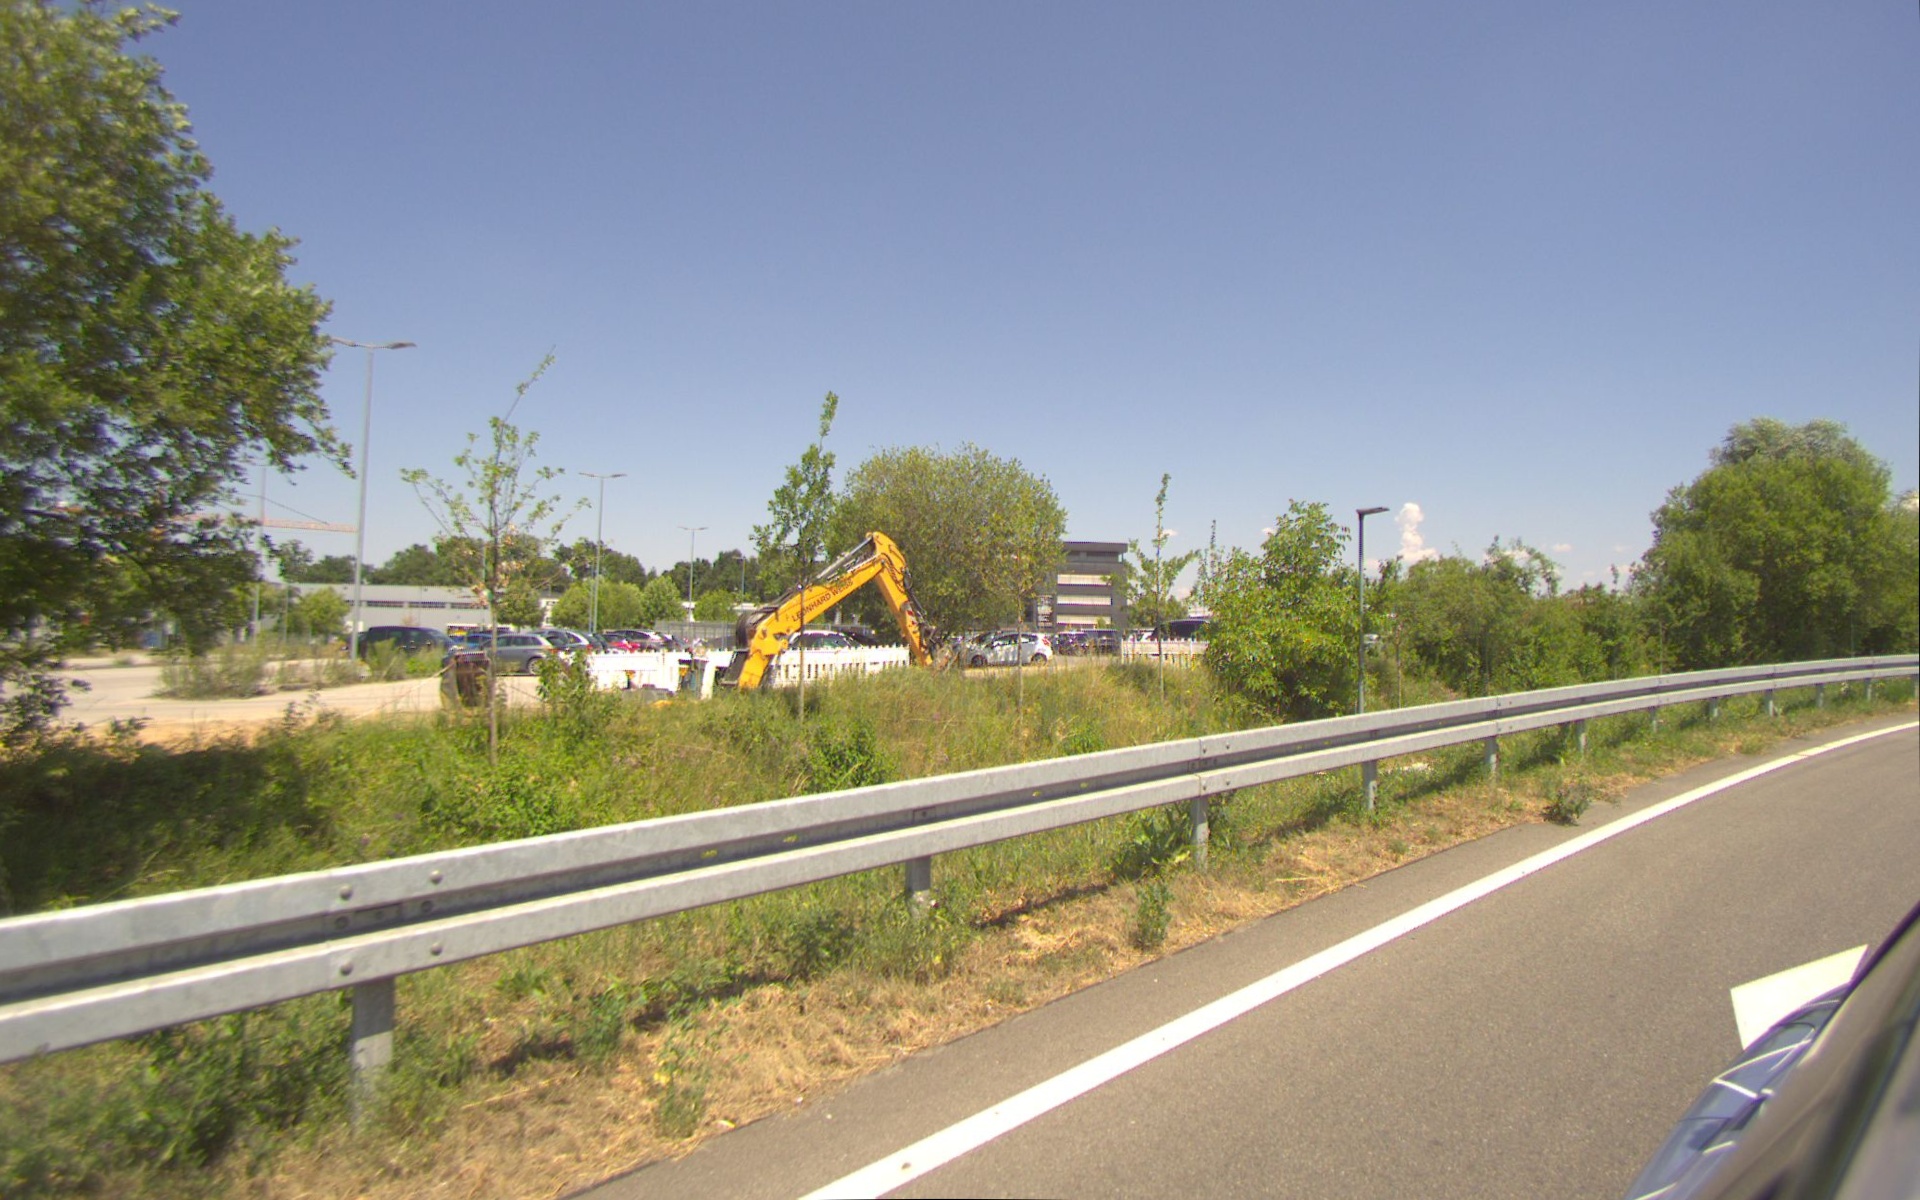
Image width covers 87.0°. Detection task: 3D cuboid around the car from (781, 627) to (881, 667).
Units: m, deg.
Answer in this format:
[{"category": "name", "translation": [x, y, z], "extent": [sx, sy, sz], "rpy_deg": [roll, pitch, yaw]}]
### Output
[{"category": "car", "translation": [-5.391, 1.969, 42.491], "extent": [4.072, 1.563, 2.002], "rpy_deg": [0, 0, -5]}]

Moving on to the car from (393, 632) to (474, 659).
[{"category": "car", "translation": [-35.627, 3.043, 68.508], "extent": [4.458, 1.707, 2.100], "rpy_deg": [-1, -1, 4]}]

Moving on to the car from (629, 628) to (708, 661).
[{"category": "car", "translation": [-17.866, 2.718, 62.141], "extent": [4.338, 1.949, 1.947], "rpy_deg": [0, -1, -1]}]

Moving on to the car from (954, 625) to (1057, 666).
[{"category": "car", "translation": [1.816, 1.824, 41.332], "extent": [4.007, 1.588, 1.949], "rpy_deg": [0, 0, -4]}]

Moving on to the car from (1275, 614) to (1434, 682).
[{"category": "car", "translation": [12.320, 1.500, 31.884], "extent": [1.962, 1.994, 4.306], "rpy_deg": [3, -4, -36]}]

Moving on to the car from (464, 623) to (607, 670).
[{"category": "car", "translation": [-15.717, 1.723, 37.685], "extent": [4.501, 1.658, 2.015], "rpy_deg": [0, 0, -1]}]

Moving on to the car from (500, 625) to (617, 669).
[{"category": "car", "translation": [-15.972, 1.869, 40.434], "extent": [3.923, 1.658, 1.947], "rpy_deg": [0, 0, -1]}]

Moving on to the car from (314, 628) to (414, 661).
[{"category": "car", "translation": [-33.411, 2.482, 56.810], "extent": [4.458, 1.707, 2.100], "rpy_deg": [-1, -1, 4]}]

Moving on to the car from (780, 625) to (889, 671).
[{"category": "car", "translation": [-4.833, 1.816, 39.072], "extent": [4.072, 1.655, 2.002], "rpy_deg": [0, 0, -6]}]

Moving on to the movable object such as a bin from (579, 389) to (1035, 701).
[{"category": "movable object such as a bin", "translation": [-2.846, -0.710, 21.507], "extent": [9.064, 5.330, 3.429], "rpy_deg": [4, -4, -41]}]

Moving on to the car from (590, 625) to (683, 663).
[{"category": "car", "translation": [-17.140, 2.340, 53.807], "extent": [4.338, 1.949, 1.947], "rpy_deg": [0, -1, -1]}]

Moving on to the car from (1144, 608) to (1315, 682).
[{"category": "car", "translation": [7.621, 1.290, 28.995], "extent": [2.025, 1.939, 4.443], "rpy_deg": [3, -4, -37]}]

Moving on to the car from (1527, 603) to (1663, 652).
[{"category": "car", "translation": [27.976, 1.244, 44.715], "extent": [1.961, 1.994, 4.694], "rpy_deg": [3, -3, -33]}]

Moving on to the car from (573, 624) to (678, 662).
[{"category": "car", "translation": [-15.817, 2.011, 48.002], "extent": [4.338, 1.706, 1.947], "rpy_deg": [0, 0, -1]}]

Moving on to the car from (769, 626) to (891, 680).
[{"category": "car", "translation": [-4.297, 1.748, 33.811], "extent": [3.919, 1.694, 2.002], "rpy_deg": [0, 0, -6]}]

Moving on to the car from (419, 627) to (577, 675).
[{"category": "car", "translation": [-15.746, 1.719, 34.698], "extent": [4.523, 1.527, 2.001], "rpy_deg": [0, 0, -2]}]

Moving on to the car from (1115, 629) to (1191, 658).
[{"category": "car", "translation": [11.172, 2.501, 58.652], "extent": [3.919, 1.588, 1.949], "rpy_deg": [0, 0, -6]}]

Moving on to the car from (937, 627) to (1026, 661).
[{"category": "car", "translation": [1.006, 2.108, 49.417], "extent": [4.258, 1.576, 1.948], "rpy_deg": [0, 0, -2]}]

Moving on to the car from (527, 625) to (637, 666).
[{"category": "car", "translation": [-15.963, 1.912, 42.886], "extent": [3.923, 1.658, 1.947], "rpy_deg": [0, 0, -1]}]

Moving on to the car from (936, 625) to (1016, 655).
[{"category": "car", "translation": [0.845, 2.179, 55.264], "extent": [4.258, 1.576, 1.948], "rpy_deg": [0, 0, -2]}]

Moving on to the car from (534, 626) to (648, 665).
[{"category": "car", "translation": [-16.588, 2.027, 45.627], "extent": [4.433, 1.658, 1.947], "rpy_deg": [0, 0, -1]}]

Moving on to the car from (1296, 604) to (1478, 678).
[{"category": "car", "translation": [14.177, 1.376, 33.887], "extent": [2.098, 2.287, 5.224], "rpy_deg": [4, -4, -42]}]

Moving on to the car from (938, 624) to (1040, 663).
[{"category": "car", "translation": [1.206, 1.867, 43.875], "extent": [4.258, 1.576, 1.948], "rpy_deg": [0, 0, -2]}]
